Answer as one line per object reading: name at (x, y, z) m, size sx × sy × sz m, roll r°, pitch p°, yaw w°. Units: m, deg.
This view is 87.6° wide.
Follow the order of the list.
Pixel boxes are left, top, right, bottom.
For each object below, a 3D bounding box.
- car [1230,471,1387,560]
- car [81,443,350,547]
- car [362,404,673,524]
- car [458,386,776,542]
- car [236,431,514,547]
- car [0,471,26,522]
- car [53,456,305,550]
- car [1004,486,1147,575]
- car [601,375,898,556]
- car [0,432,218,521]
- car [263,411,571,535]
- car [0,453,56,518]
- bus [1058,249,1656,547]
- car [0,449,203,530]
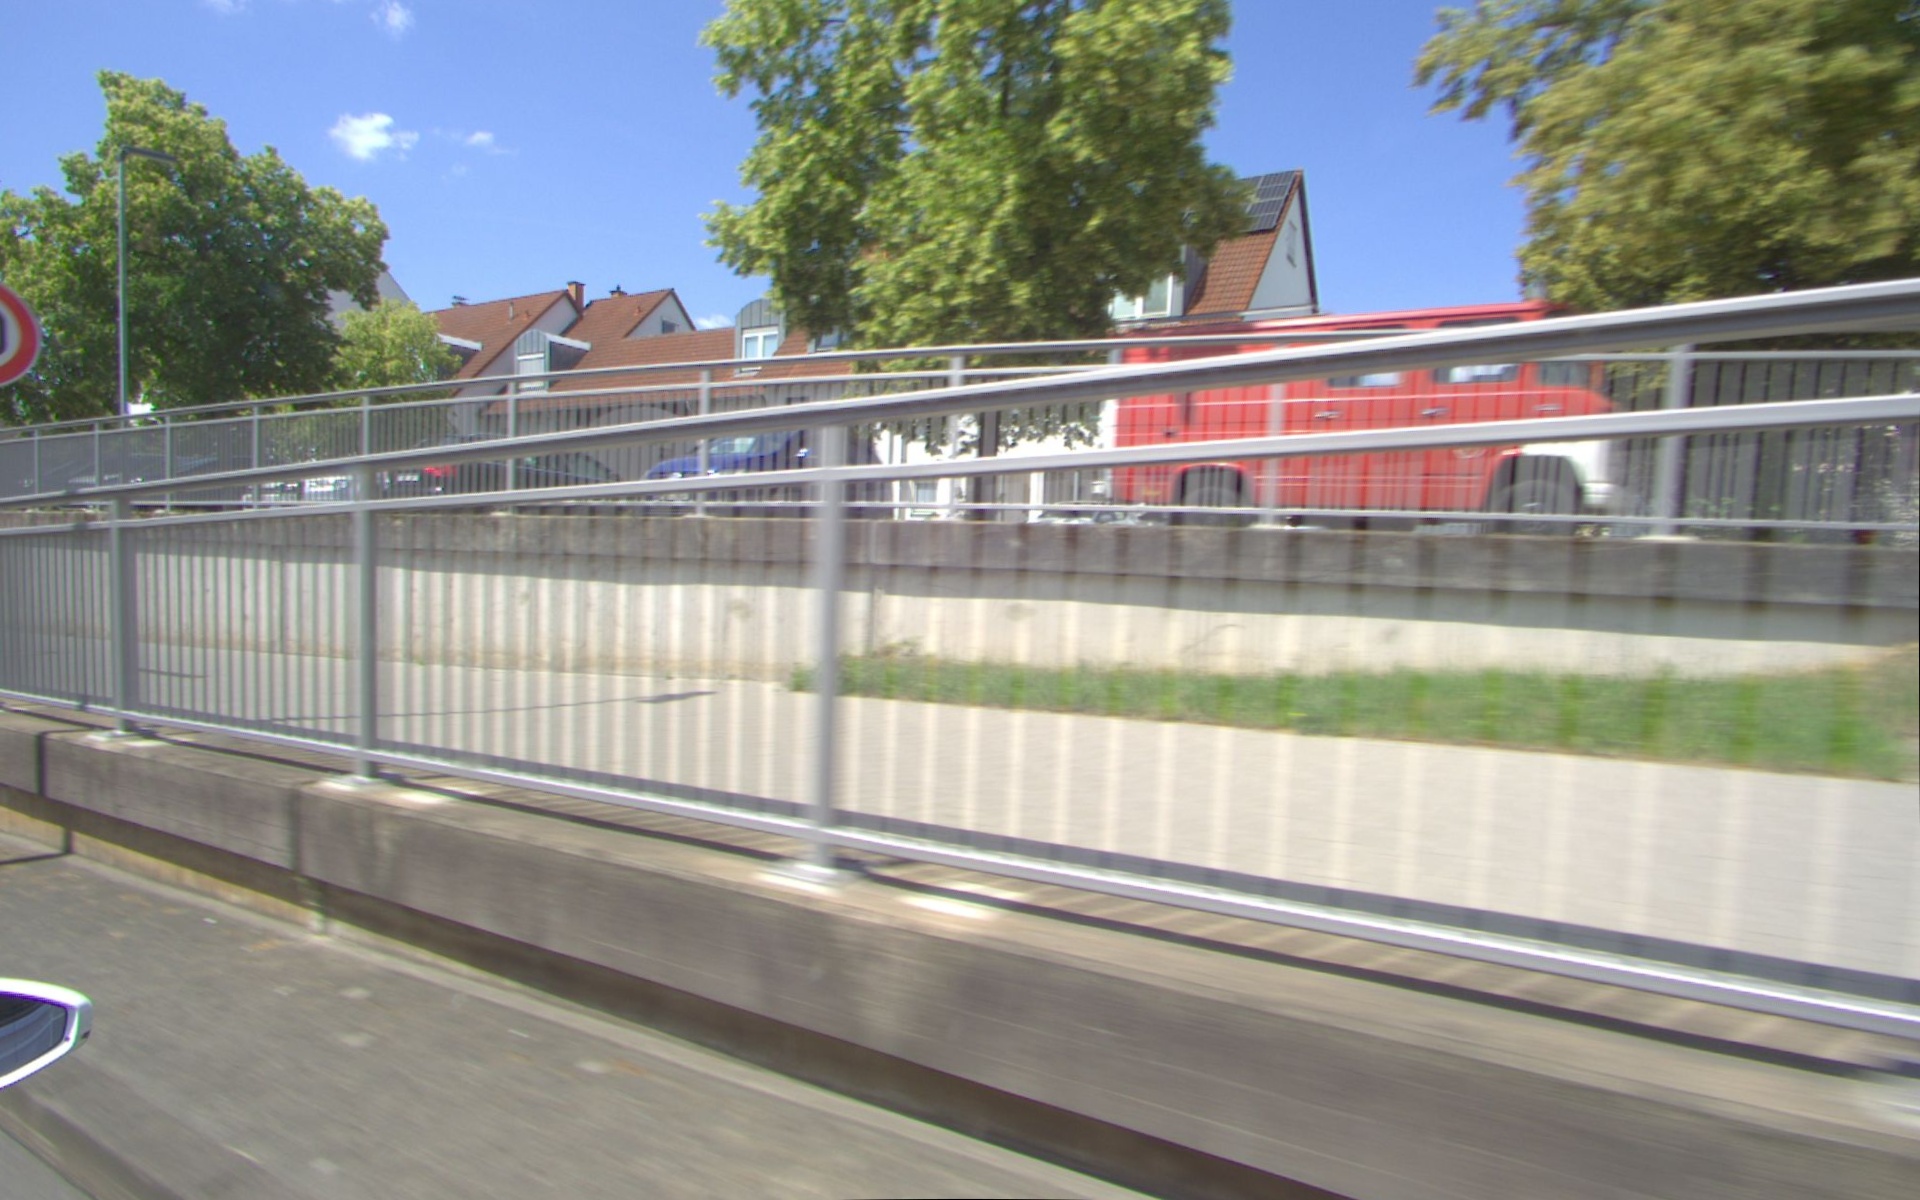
car at (7.048, -1.615, 19.957) m, size 1.970 × 1.500 × 4.474 m, roll 4°, pitch 3°, yaw 32°
car at (-14.601, -1.961, 19.848) m, size 1.701 × 1.576 × 3.977 m, roll 0°, pitch 0°, yaw 34°
car at (-6.455, -1.911, 15.037) m, size 1.747 × 1.325 × 3.977 m, roll 1°, pitch 2°, yaw 32°
car at (-4.463, -1.686, 13.667) m, size 1.745 × 1.654 × 3.981 m, roll 1°, pitch 2°, yaw 28°
car at (-10.322, -1.864, 17.938) m, size 1.701 × 1.576 × 3.977 m, roll 0°, pitch 0°, yaw 34°
car at (-32.705, -3.443, 31.951) m, size 1.745 × 1.505 × 3.976 m, roll 0°, pitch -1°, yaw 34°
car at (-16.694, -1.994, 21.589) m, size 1.701 × 1.576 × 3.977 m, roll 0°, pitch 0°, yaw 34°
car at (2.762, -1.511, 23.155) m, size 1.835 × 1.650 × 3.982 m, roll 0°, pitch -1°, yaw 30°
car at (-2.492, -1.538, 12.928) m, size 1.832 × 1.650 × 3.991 m, roll 0°, pitch -1°, yaw 22°
car at (-20.174, -2.816, 23.619) m, size 1.745 × 1.505 × 3.976 m, roll 0°, pitch -1°, yaw 34°
car at (-8.468, -1.896, 15.937) m, size 1.700 × 1.447 × 3.977 m, roll 3°, pitch 1°, yaw 34°
car at (-30.355, -3.584, 30.471) m, size 1.745 × 1.793 × 3.976 m, roll 0°, pitch 0°, yaw 34°
bus at (3.943, -1.879, 10.591) m, size 5.282 × 2.400 × 2.184 m, roll 4°, pitch 4°, yaw 31°
car at (-21.604, -2.667, 25.011) m, size 1.745 × 1.505 × 3.976 m, roll 0°, pitch -1°, yaw 34°
